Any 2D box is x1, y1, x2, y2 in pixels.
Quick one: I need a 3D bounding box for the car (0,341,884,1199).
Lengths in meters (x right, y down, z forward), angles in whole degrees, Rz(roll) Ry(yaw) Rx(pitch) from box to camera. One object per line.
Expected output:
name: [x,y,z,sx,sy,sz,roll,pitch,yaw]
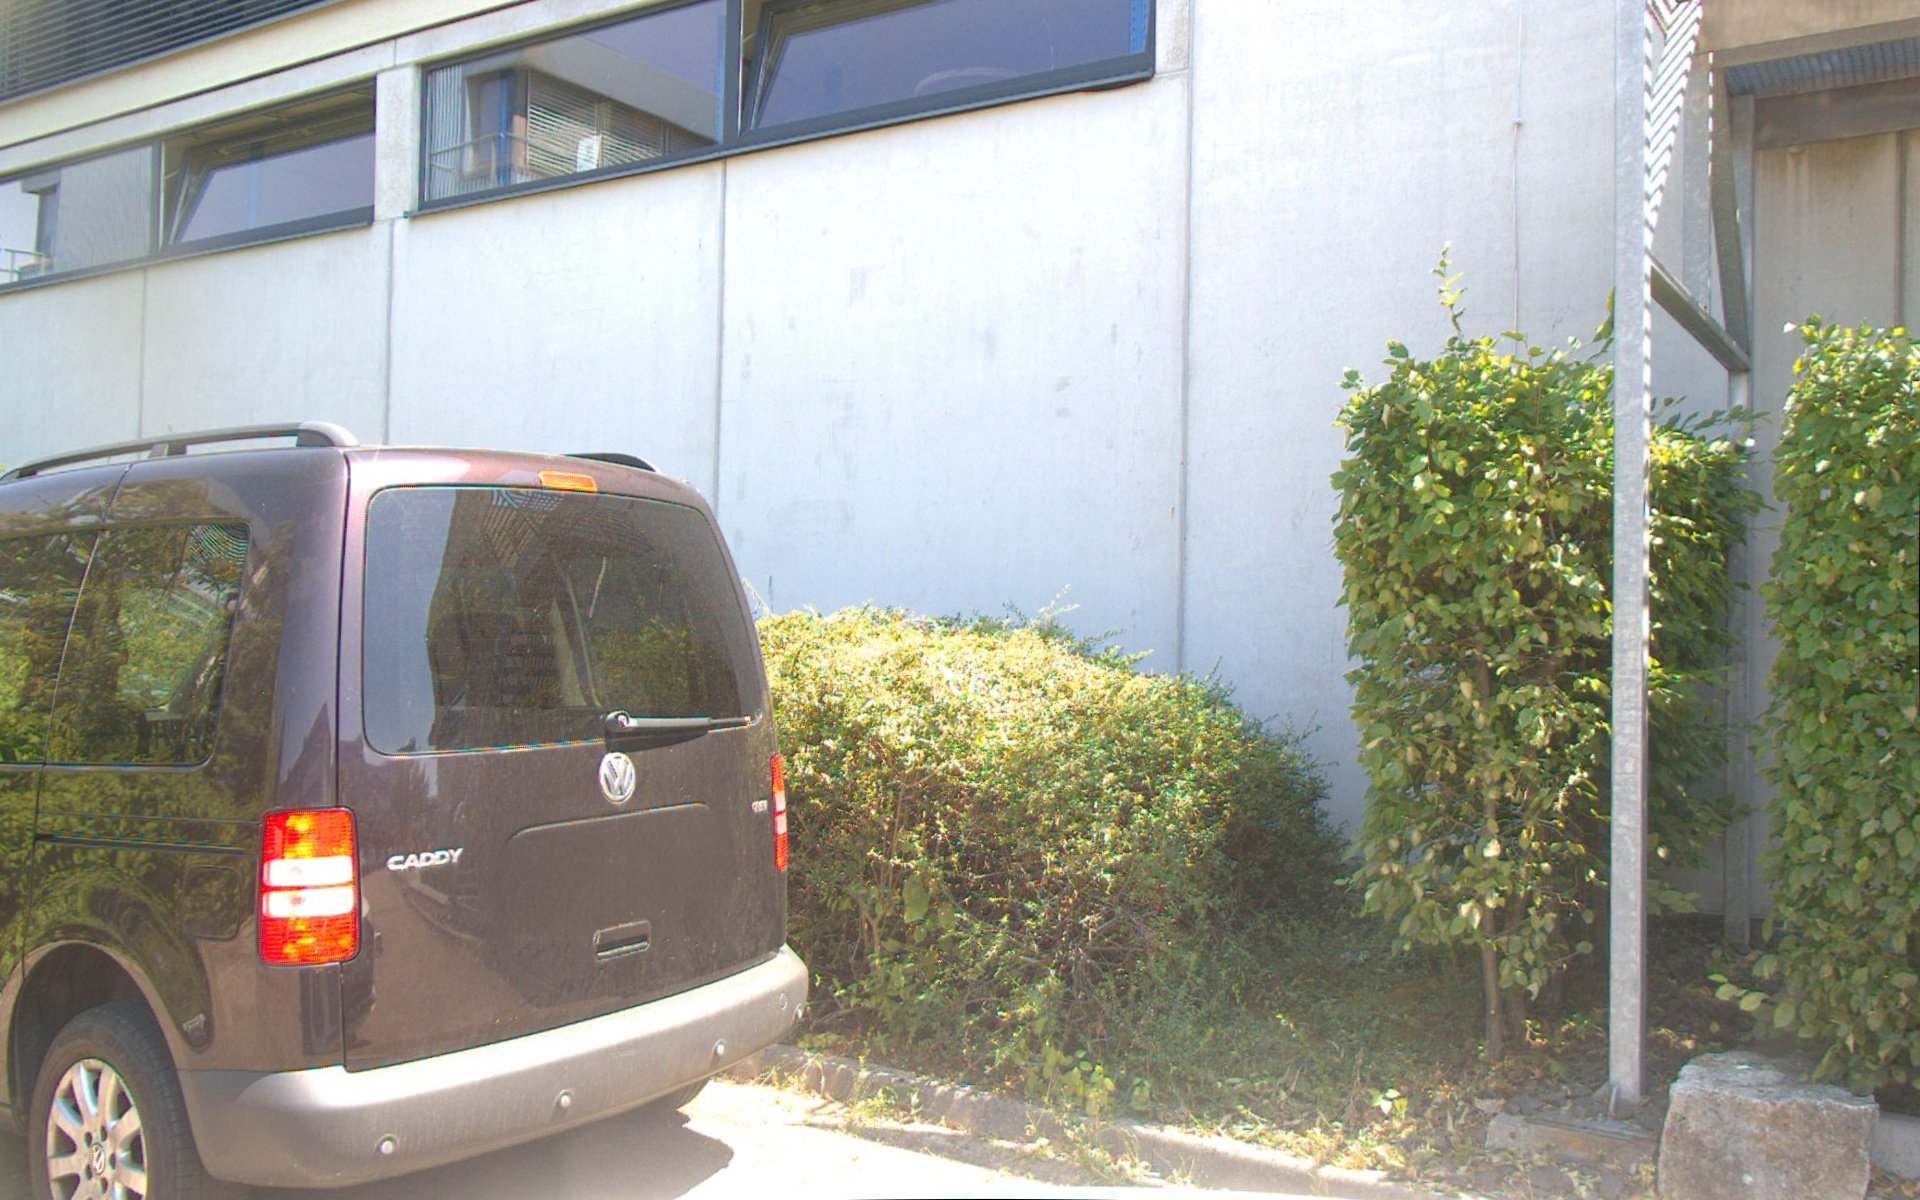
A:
car: [-2.315,0.481,4.814,3.987,1.917,1.673,0,0,34]
